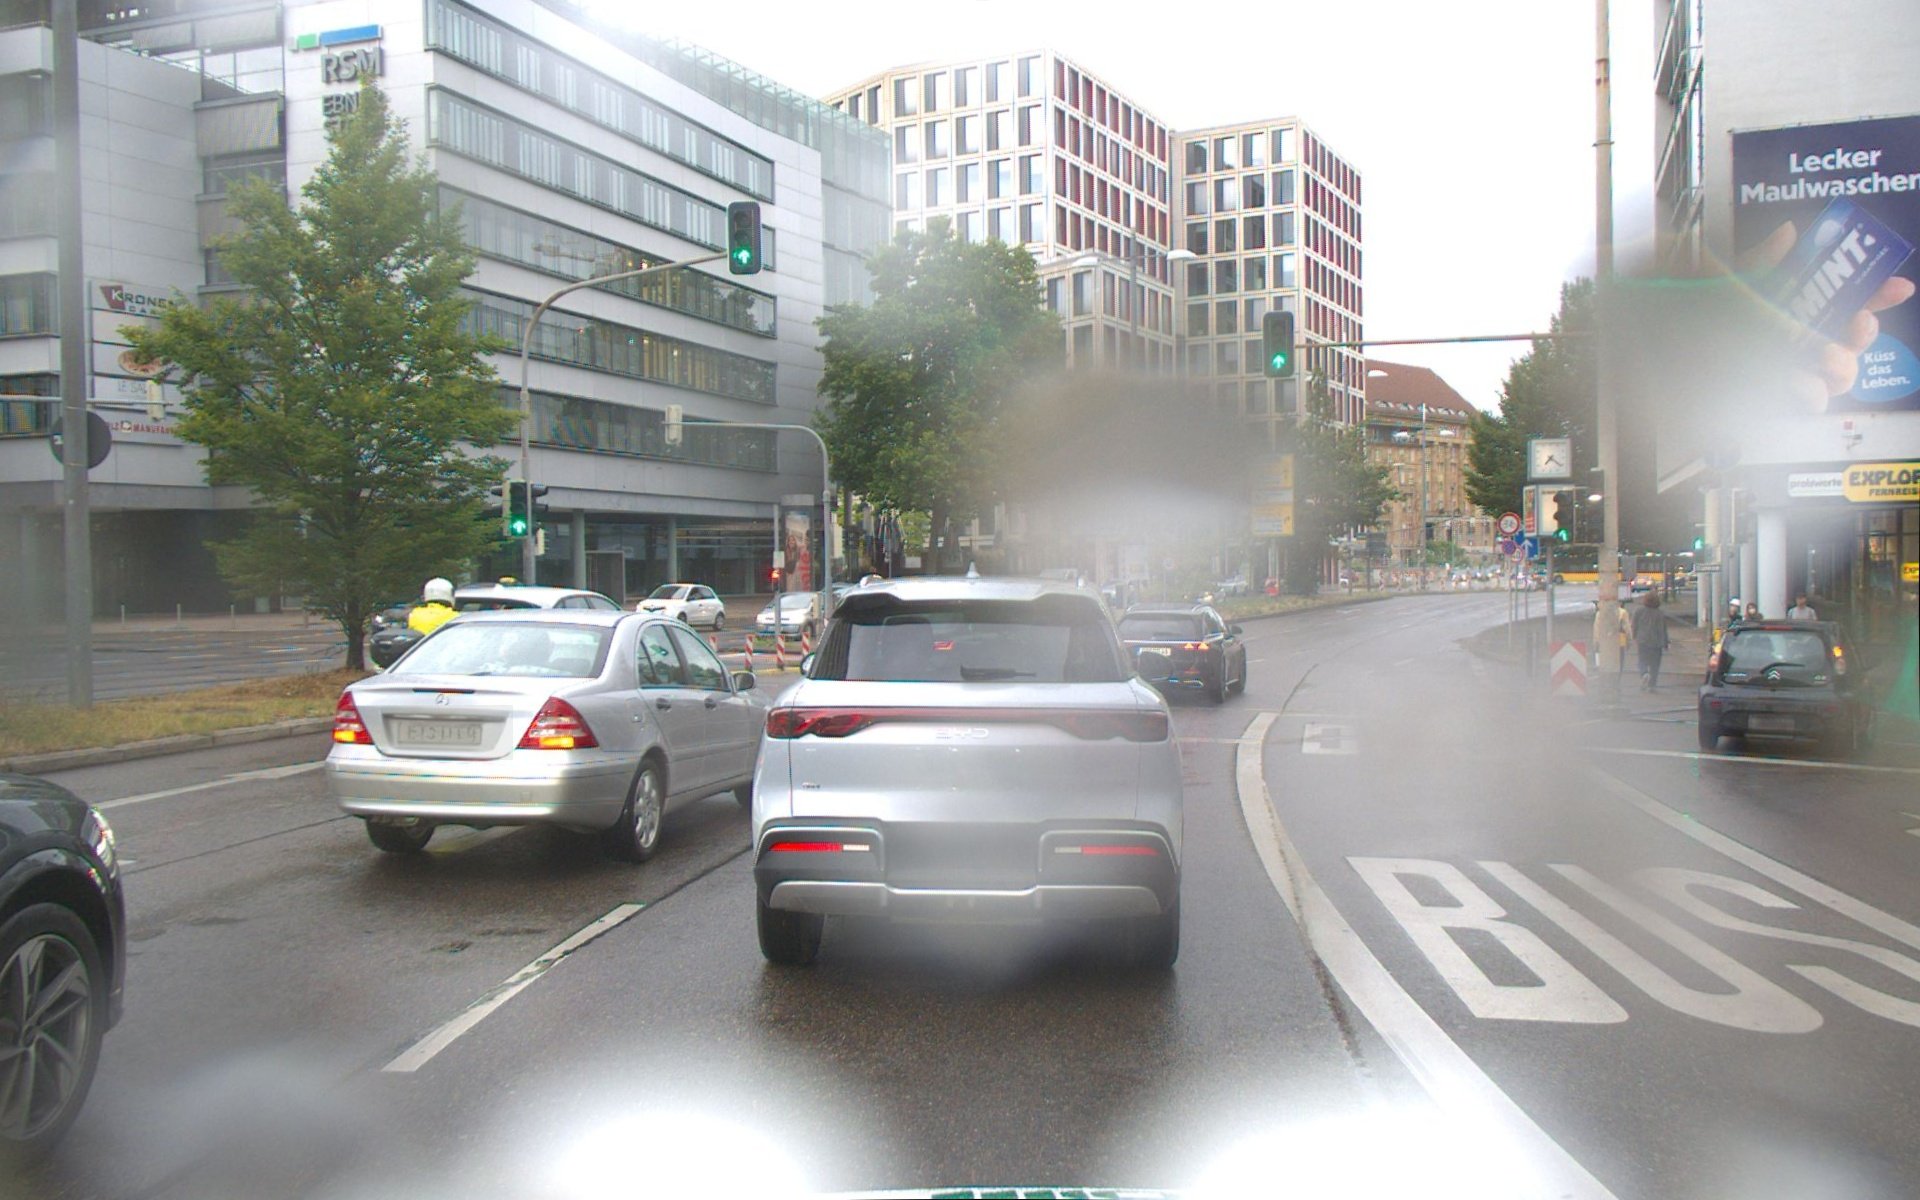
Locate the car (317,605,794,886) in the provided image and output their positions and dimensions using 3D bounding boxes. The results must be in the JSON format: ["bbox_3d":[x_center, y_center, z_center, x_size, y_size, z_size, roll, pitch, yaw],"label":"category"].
[{"bbox_3d":[-2.338,0.776,10.695,1.537,1.432,4.112,1,-1,8],"label":"car"}]

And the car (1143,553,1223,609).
[{"bbox_3d":[8.733,-0.719,64.443,1.953,2.049,4.848,1,-1,22],"label":"car"}]

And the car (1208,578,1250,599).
[{"bbox_3d":[19.922,-0.887,122.487,1.954,1.514,3.996,0,1,26],"label":"car"}]

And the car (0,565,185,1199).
[{"bbox_3d":[-3.132,0.683,2.837,1.614,1.548,4.271,1,0,-1],"label":"car"}]

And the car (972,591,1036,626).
[{"bbox_3d":[2.185,0.395,80.773,1.598,1.586,4.592,0,1,22],"label":"car"}]

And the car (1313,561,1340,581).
[{"bbox_3d":[36.242,-2.858,163.457,1.577,1.771,3.437,0,-1,31],"label":"car"}]

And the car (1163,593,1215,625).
[{"bbox_3d":[11.178,0.417,80.472,1.598,1.462,3.907,0,1,22],"label":"car"}]

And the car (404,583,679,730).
[{"bbox_3d":[-4.714,0.607,19.243,1.670,1.512,4.003,1,-1,8],"label":"car"}]

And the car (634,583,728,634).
[{"bbox_3d":[-9.278,0.298,55.243,1.603,1.598,3.720,1,-1,17],"label":"car"}]

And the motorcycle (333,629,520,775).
[{"bbox_3d":[-4.776,0.876,14.973,0.783,1.205,2.030,1,-1,8],"label":"motorcycle"}]

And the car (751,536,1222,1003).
[{"bbox_3d":[0.217,0.648,8.170,1.739,1.708,4.002,1,-1,4],"label":"car"}]

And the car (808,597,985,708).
[{"bbox_3d":[-0.858,0.745,24.882,1.537,1.512,4.003,1,-1,15],"label":"car"}]

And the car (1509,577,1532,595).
[{"bbox_3d":[51.769,-1.276,152.687,1.849,1.672,4.000,0,0,21],"label":"car"}]

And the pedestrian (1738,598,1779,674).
[{"bbox_3d":[16.753,0.755,34.713,0.615,1.570,0.649,0,0,42],"label":"pedestrian"}]

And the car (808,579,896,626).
[{"bbox_3d":[-3.841,0.088,59.359,1.610,1.609,4.086,0,0,20],"label":"car"}]

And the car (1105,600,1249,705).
[{"bbox_3d":[3.504,0.789,26.155,1.658,1.512,4.002,0,-1,16],"label":"car"}]

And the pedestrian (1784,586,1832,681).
[{"bbox_3d":[16.469,0.643,32.130,0.659,1.825,0.768,0,0,42],"label":"pedestrian"}]

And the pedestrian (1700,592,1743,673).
[{"bbox_3d":[16.159,0.679,35.086,0.659,1.684,0.649,0,0,42],"label":"pedestrian"}]

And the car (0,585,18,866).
[{"bbox_3d":[-6.405,0.689,6.978,1.826,1.560,4.780,1,0,5],"label":"car"}]

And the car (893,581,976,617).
[{"bbox_3d":[-1.080,-0.074,74.018,1.777,1.536,5.194,0,1,23],"label":"car"}]

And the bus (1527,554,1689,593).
[{"bbox_3d":[72.815,-2.933,186.001,16.632,4.134,4.433,1,-1,26],"label":"bus"}]

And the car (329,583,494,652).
[{"bbox_3d":[-14.033,0.422,42.529,1.952,1.638,4.001,2,1,19],"label":"car"}]

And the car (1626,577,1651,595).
[{"bbox_3d":[61.935,-1.255,150.983,1.661,1.512,3.993,0,-1,29],"label":"car"}]

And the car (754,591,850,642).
[{"bbox_3d":[-4.607,0.494,48.635,1.654,1.409,3.871,1,-1,13],"label":"car"}]

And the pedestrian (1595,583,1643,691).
[{"bbox_3d":[11.392,0.627,28.617,0.733,1.829,0.817,0,0,19],"label":"pedestrian"}]

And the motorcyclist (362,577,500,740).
[{"bbox_3d":[-4.768,0.511,14.974,0.753,1.404,1.119,1,-1,9],"label":"motorcyclist"}]

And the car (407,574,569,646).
[{"bbox_3d":[-10.893,0.212,38.453,1.609,1.563,4.154,0,0,17],"label":"car"}]

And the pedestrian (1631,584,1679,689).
[{"bbox_3d":[12.328,0.632,29.358,0.733,1.829,0.817,0,0,19],"label":"pedestrian"}]

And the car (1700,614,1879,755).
[{"bbox_3d":[9.777,0.918,19.353,1.542,1.454,3.990,0,-1,32],"label":"car"}]

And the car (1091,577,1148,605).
[{"bbox_3d":[9.101,-0.514,94.171,1.954,1.514,3.996,0,1,26],"label":"car"}]
